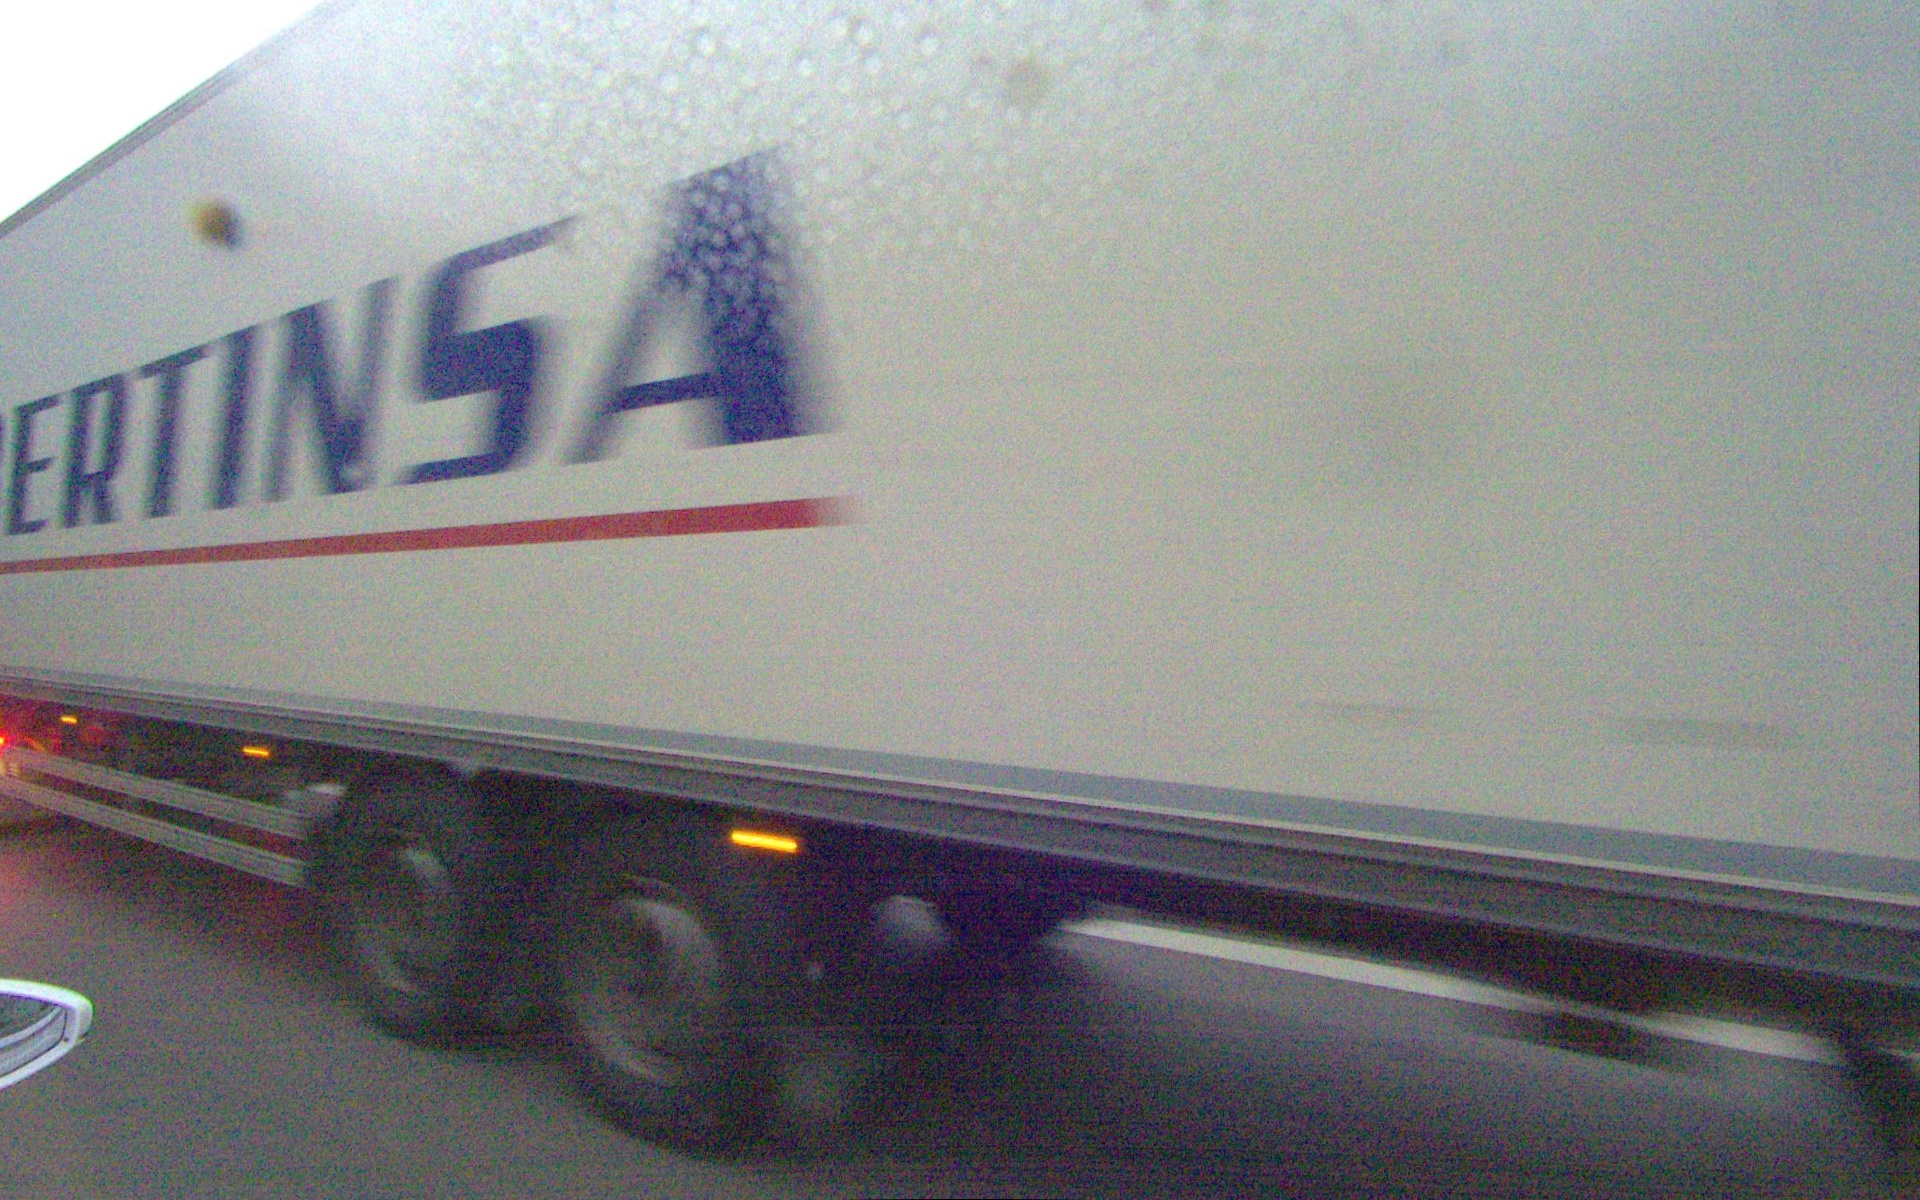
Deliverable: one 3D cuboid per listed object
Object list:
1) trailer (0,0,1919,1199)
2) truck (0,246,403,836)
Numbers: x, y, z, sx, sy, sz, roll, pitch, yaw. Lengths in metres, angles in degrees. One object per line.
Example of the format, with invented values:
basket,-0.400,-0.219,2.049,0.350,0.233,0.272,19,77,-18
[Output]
trailer,-3.614,-0.358,6.319,14.016,4.022,3.090,-1,0,33
truck,-8.778,-0.299,9.938,6.358,4.196,3.063,-1,-3,34
